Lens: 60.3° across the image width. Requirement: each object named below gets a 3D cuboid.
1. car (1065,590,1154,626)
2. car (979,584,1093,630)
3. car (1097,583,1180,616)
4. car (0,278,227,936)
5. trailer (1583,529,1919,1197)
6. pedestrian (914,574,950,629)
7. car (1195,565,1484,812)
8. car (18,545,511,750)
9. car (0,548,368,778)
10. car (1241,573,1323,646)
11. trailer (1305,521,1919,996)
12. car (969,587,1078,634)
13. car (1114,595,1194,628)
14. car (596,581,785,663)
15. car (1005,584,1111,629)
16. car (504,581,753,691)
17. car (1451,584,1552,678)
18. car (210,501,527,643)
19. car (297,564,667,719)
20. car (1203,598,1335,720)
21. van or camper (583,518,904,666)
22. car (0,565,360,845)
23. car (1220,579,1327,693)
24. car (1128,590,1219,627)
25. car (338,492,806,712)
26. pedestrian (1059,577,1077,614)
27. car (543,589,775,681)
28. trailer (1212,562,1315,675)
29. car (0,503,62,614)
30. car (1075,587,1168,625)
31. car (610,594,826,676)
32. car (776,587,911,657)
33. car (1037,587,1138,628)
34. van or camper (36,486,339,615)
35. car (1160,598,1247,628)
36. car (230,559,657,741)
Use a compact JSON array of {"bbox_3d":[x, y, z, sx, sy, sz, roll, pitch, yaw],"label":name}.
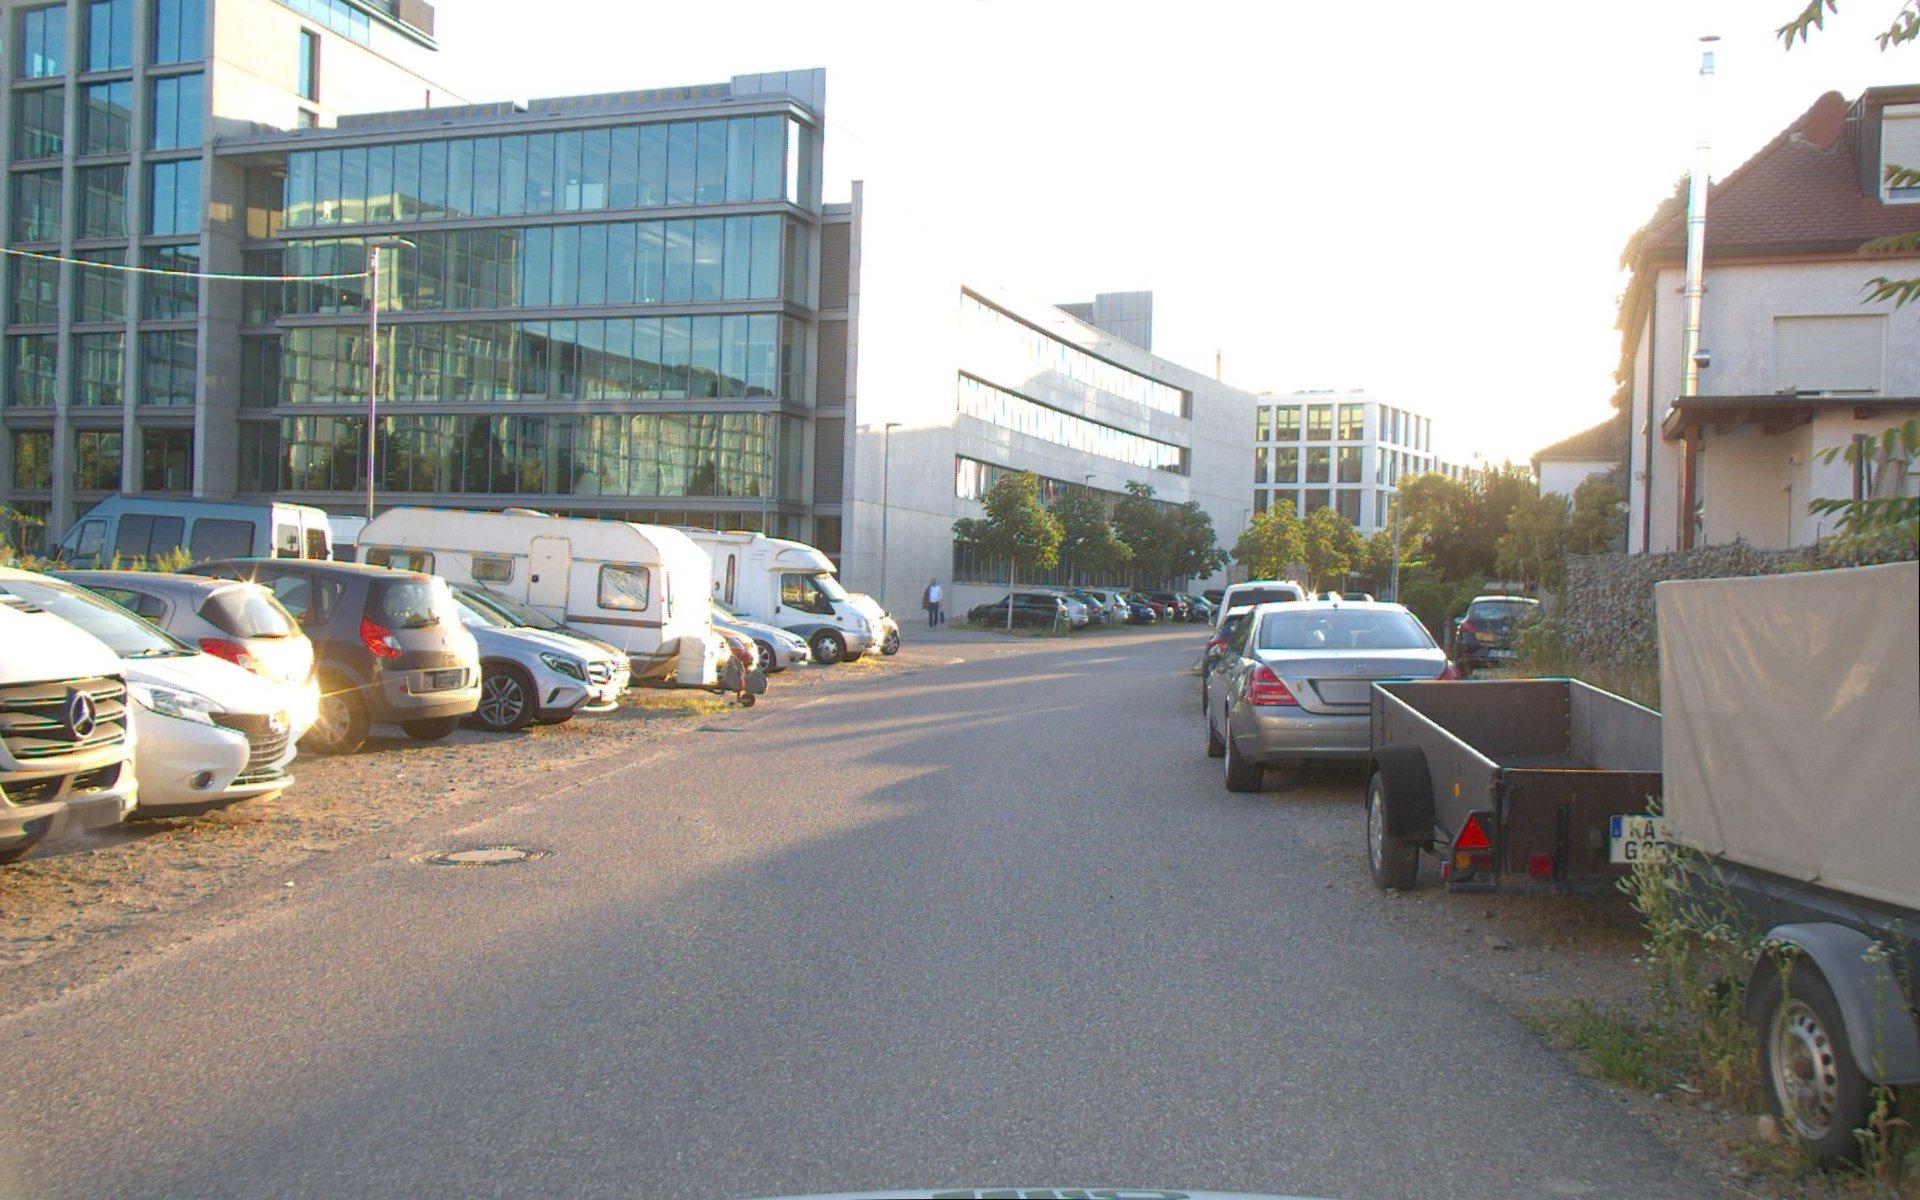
[{"bbox_3d":[6.453,0.346,71.295,3.556,1.385,1.687,2,1,15],"label":"car"},{"bbox_3d":[2.921,0.254,63.117,3.999,1.555,1.848,3,1,14],"label":"car"},{"bbox_3d":[8.664,-0.032,80.289,3.626,1.483,1.711,2,0,21],"label":"car"},{"bbox_3d":[-6.839,-0.128,7.811,5.706,2.760,2.051,3,0,1],"label":"car"},{"bbox_3d":[3.035,0.662,4.992,1.225,1.694,2.803,0,0,-1],"label":"trailer"},{"bbox_3d":[-0.958,0.048,57.096,0.893,1.882,0.844,0,1,-39],"label":"pedestrian"},{"bbox_3d":[3.067,0.635,14.325,1.768,1.755,4.931,-1,0,5],"label":"car"},{"bbox_3d":[-6.362,0.391,15.299,3.842,1.618,1.749,2,0,12],"label":"car"},{"bbox_3d":[-6.984,0.449,13.142,3.843,1.618,1.749,2,-1,3],"label":"car"},{"bbox_3d":[10.048,0.276,51.357,2.022,2.131,4.875,1,0,16],"label":"car"},{"bbox_3d":[3.006,0.603,8.819,1.694,1.808,4.940,0,0,5],"label":"trailer"},{"bbox_3d":[2.332,0.367,60.335,3.655,1.507,1.771,3,1,14],"label":"car"},{"bbox_3d":[9.646,0.568,82.153,3.627,1.483,1.679,2,0,23],"label":"car"},{"bbox_3d":[-5.580,0.443,34.473,3.529,1.502,1.694,3,0,3],"label":"car"},{"bbox_3d":[3.870,0.258,65.195,3.913,1.538,1.586,3,2,14],"label":"car"},{"bbox_3d":[-5.324,0.559,26.823,3.552,1.545,1.706,3,0,5],"label":"car"},{"bbox_3d":[9.684,0.580,29.592,1.601,1.546,3.904,1,-2,18],"label":"car"},{"bbox_3d":[-12.710,-0.613,35.619,6.110,2.719,2.225,3,0,14],"label":"car"},{"bbox_3d":[-5.955,0.503,20.857,4.039,1.618,1.749,3,0,6],"label":"car"},{"bbox_3d":[4.427,0.760,23.452,1.668,1.545,4.091,1,0,12],"label":"car"},{"bbox_3d":[-4.761,-0.200,36.904,6.597,2.948,2.411,2,0,9],"label":"van or camper"},{"bbox_3d":[-6.044,0.551,10.357,3.843,1.533,1.791,2,0,4],"label":"car"},{"bbox_3d":[5.588,0.581,29.473,1.733,1.863,4.412,1,0,11],"label":"car"},{"bbox_3d":[10.909,0.423,84.349,4.221,1.726,1.896,2,0,23],"label":"car"},{"bbox_3d":[-5.314,-0.007,23.082,5.763,2.577,2.414,3,0,10],"label":"car"},{"bbox_3d":[5.358,-0.209,81.925,0.632,1.815,0.725,2,0,20],"label":"pedestrian"},{"bbox_3d":[-5.258,0.592,29.199,3.647,1.391,1.706,3,0,5],"label":"car"},{"bbox_3d":[6.502,0.354,35.787,2.020,2.250,5.227,1,0,9],"label":"trailer"},{"bbox_3d":[-15.132,-0.666,23.147,4.274,1.502,1.983,3,0,15],"label":"car"},{"bbox_3d":[7.298,0.272,74.703,3.790,1.537,1.760,3,1,20],"label":"car"},{"bbox_3d":[-4.586,0.645,31.631,3.727,1.351,1.694,3,0,7],"label":"car"},{"bbox_3d":[-2.769,0.536,40.367,1.652,1.545,4.362,3,0,19],"label":"car"},{"bbox_3d":[5.383,0.286,69.878,3.905,1.537,1.760,3,1,20],"label":"car"},{"bbox_3d":[-12.957,-0.827,27.829,4.245,1.924,1.934,3,0,12],"label":"van or camper"},{"bbox_3d":[13.208,0.666,89.861,4.347,1.489,1.761,2,1,26],"label":"car"},{"bbox_3d":[-5.577,0.502,18.045,4.039,1.618,1.749,4,1,12],"label":"car"}]
